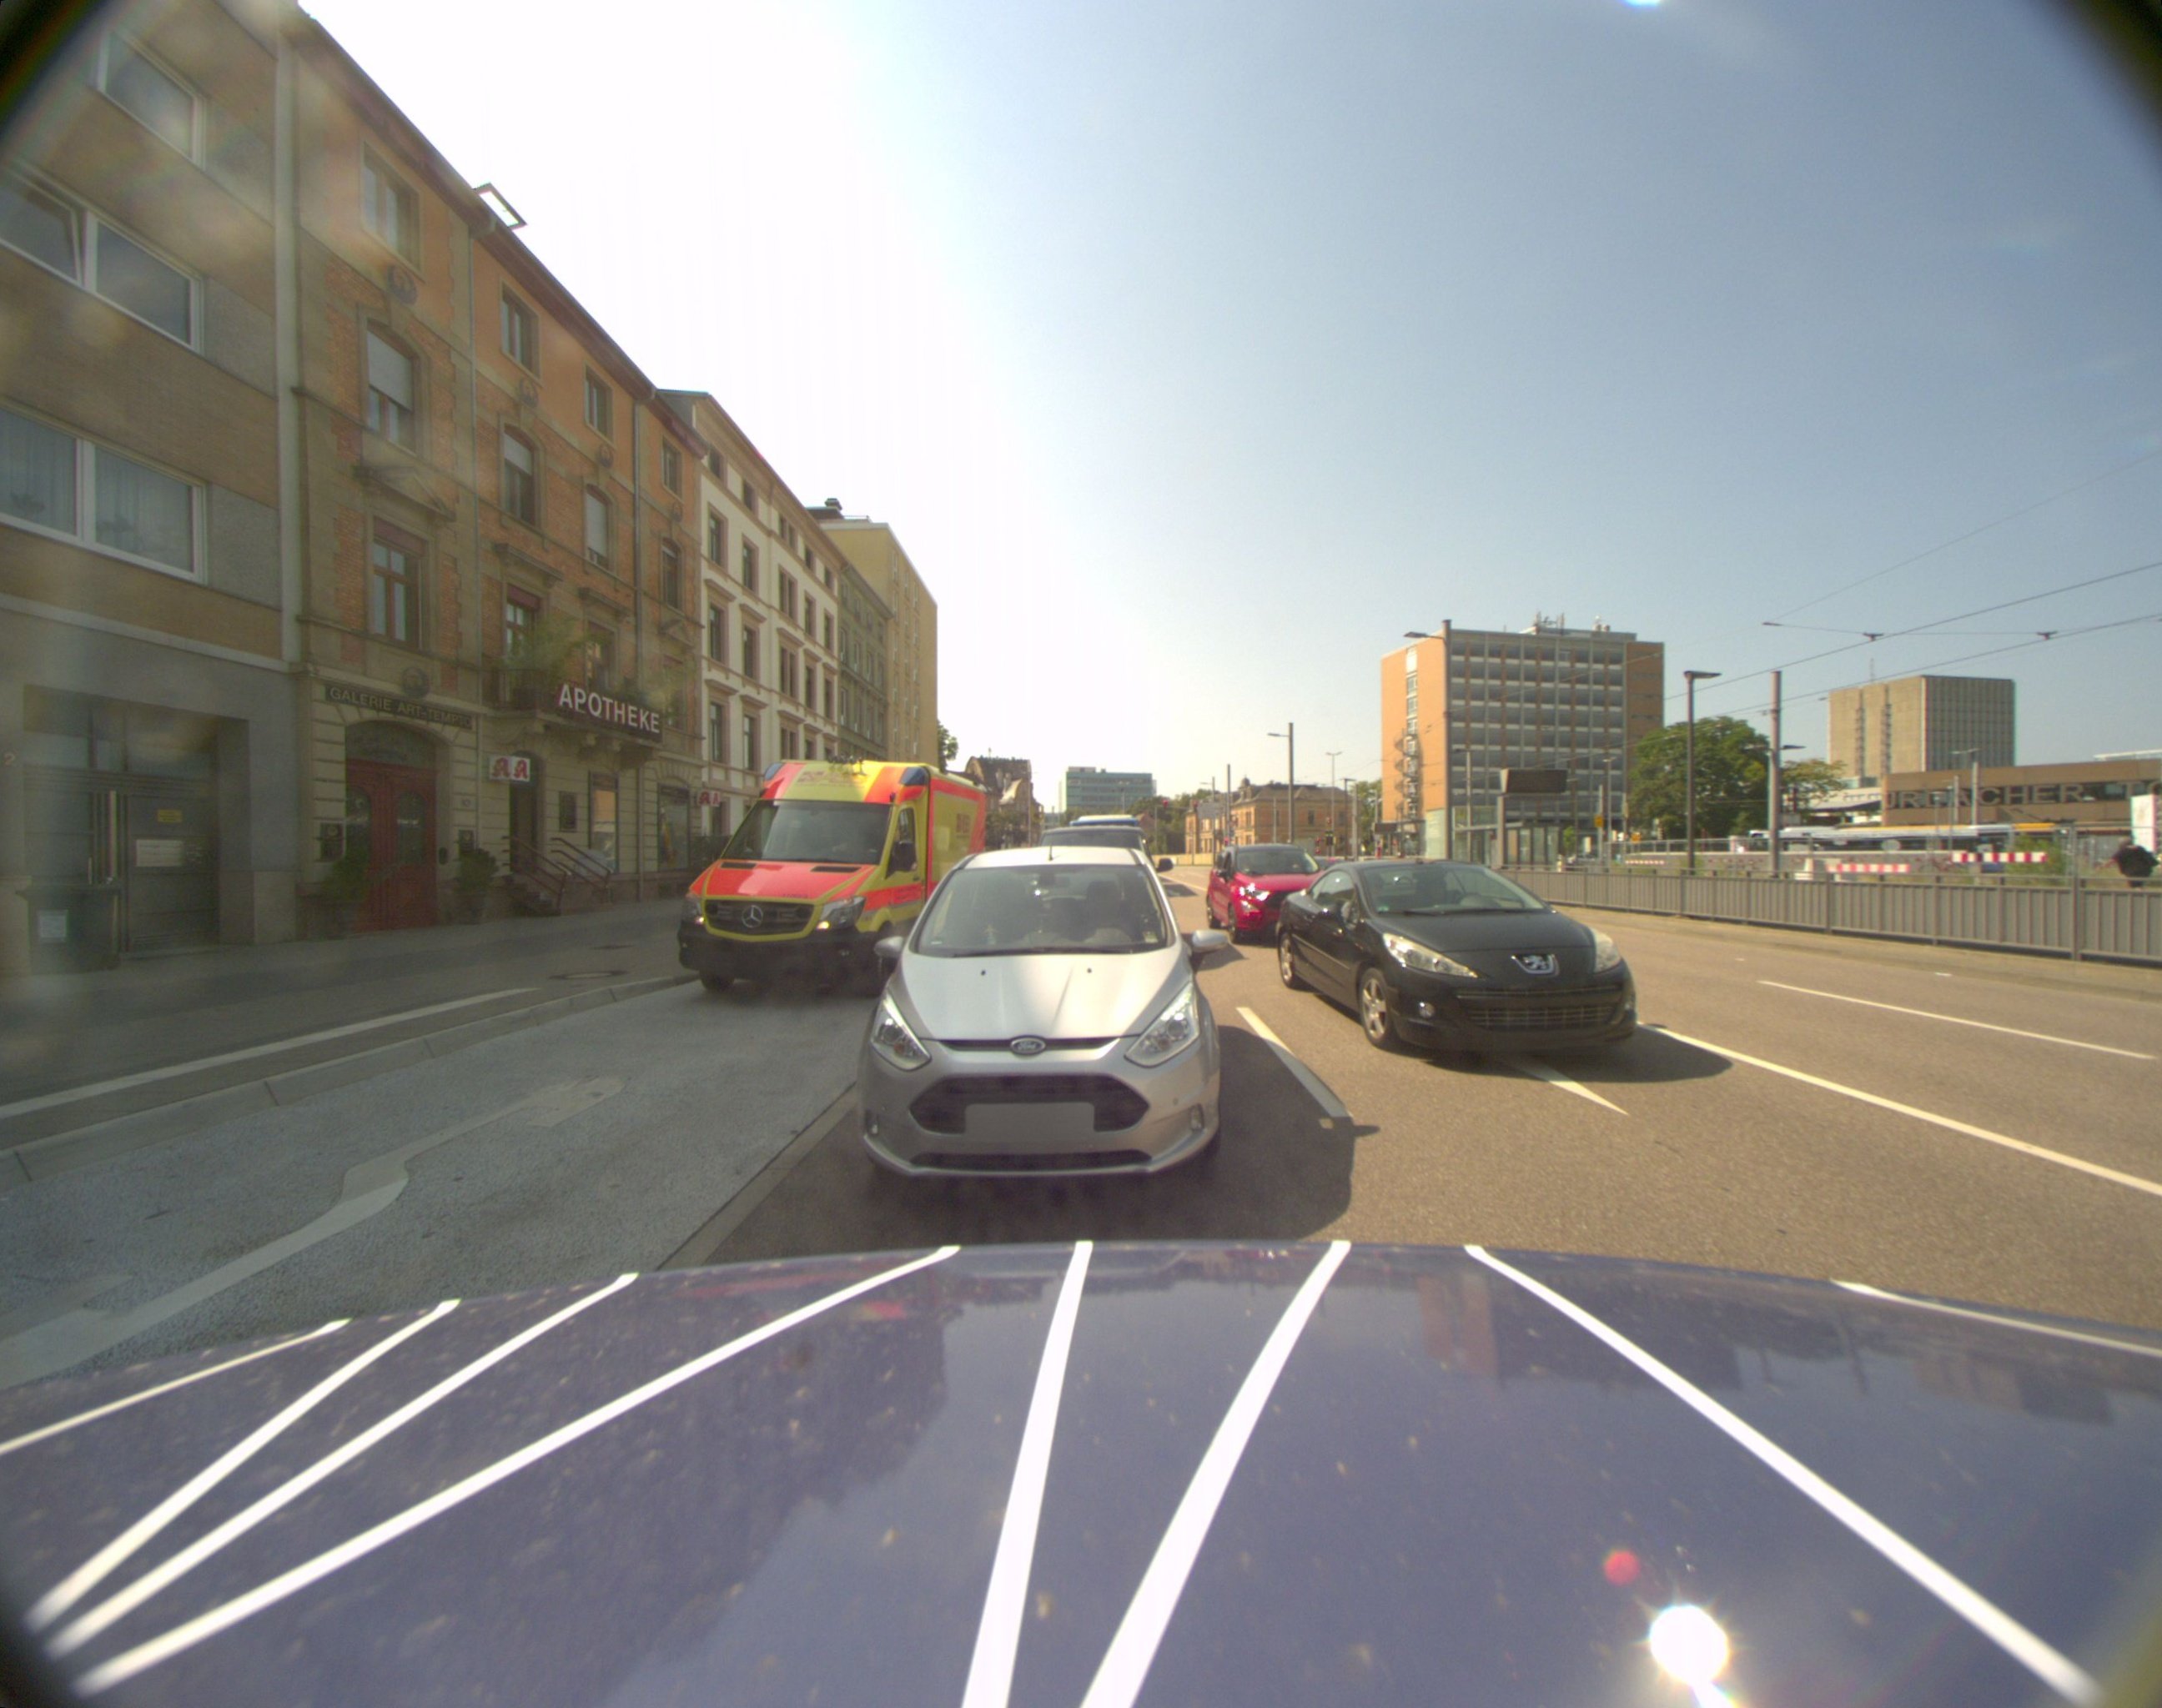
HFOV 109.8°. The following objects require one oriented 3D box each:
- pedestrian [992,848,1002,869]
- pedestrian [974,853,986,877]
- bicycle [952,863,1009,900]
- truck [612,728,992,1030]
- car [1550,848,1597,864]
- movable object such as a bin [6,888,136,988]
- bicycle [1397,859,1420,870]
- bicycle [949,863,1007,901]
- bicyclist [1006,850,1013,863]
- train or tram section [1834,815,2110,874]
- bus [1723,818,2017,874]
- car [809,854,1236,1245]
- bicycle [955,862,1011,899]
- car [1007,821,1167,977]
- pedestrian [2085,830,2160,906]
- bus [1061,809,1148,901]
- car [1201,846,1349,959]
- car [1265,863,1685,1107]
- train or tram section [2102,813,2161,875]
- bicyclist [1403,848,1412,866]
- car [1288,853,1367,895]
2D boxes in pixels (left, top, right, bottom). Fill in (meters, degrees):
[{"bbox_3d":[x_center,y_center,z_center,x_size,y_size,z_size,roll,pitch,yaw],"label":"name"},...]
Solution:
[{"bbox_3d":[-6.349,0.342,57.421,0.645,1.619,0.796,1,1,0],"label":"pedestrian"},{"bbox_3d":[-7.492,0.828,56.399,0.688,1.748,0.797,1,1,5],"label":"pedestrian"},{"bbox_3d":[-3.399,0.922,25.767,1.841,1.196,0.434,-2,1,1],"label":"bicycle"},{"bbox_3d":[-3.011,0.203,10.265,2.333,2.754,6.340,2,1,4],"label":"truck"},{"bbox_3d":[52.266,0.199,80.692,3.873,1.575,1.691,-2,0,17],"label":"car"},{"bbox_3d":[-11.972,0.971,9.033,0.648,1.098,0.727,1,0,-24],"label":"movable object such as a bin"},{"bbox_3d":[35.384,1.106,82.096,2.182,1.095,0.664,-2,1,21],"label":"bicycle"},{"bbox_3d":[-3.425,0.929,25.331,1.841,1.196,0.434,-2,1,1],"label":"bicycle"},{"bbox_3d":[-8.595,0.266,91.117,0.721,1.577,1.103,-1,0,2],"label":"bicyclist"},{"bbox_3d":[61.076,-0.583,52.875,2.004,3.743,12.331,-1,0,-45],"label":"train or tram section"},{"bbox_3d":[52.353,-0.423,51.326,3.357,3.275,13.371,-3,0,-45],"label":"bus"},{"bbox_3d":[-0.193,0.816,5.140,1.728,1.579,4.000,-1,0,1],"label":"car"},{"bbox_3d":[-3.386,0.903,26.228,1.841,1.212,0.434,-2,1,1],"label":"bicycle"},{"bbox_3d":[0.134,0.569,12.152,1.998,1.953,4.816,-1,0,1],"label":"car"},{"bbox_3d":[25.031,0.334,18.272,0.745,1.777,0.761,0,1,1],"label":"pedestrian"},{"bbox_3d":[1.290,0.002,32.655,2.918,3.119,12.348,-2,0,5],"label":"bus"},{"bbox_3d":[3.167,0.707,13.170,1.634,1.611,3.968,-2,0,2],"label":"car"},{"bbox_3d":[2.909,0.840,6.616,1.692,1.405,3.801,-2,0,1],"label":"car"},{"bbox_3d":[69.779,-0.624,44.139,2.004,3.743,12.331,-1,0,-45],"label":"train or tram section"},{"bbox_3d":[35.294,0.281,82.114,0.857,1.891,0.664,-2,1,21],"label":"bicyclist"},{"bbox_3d":[9.487,0.722,29.609,1.750,1.427,4.573,1,1,3],"label":"car"}]
